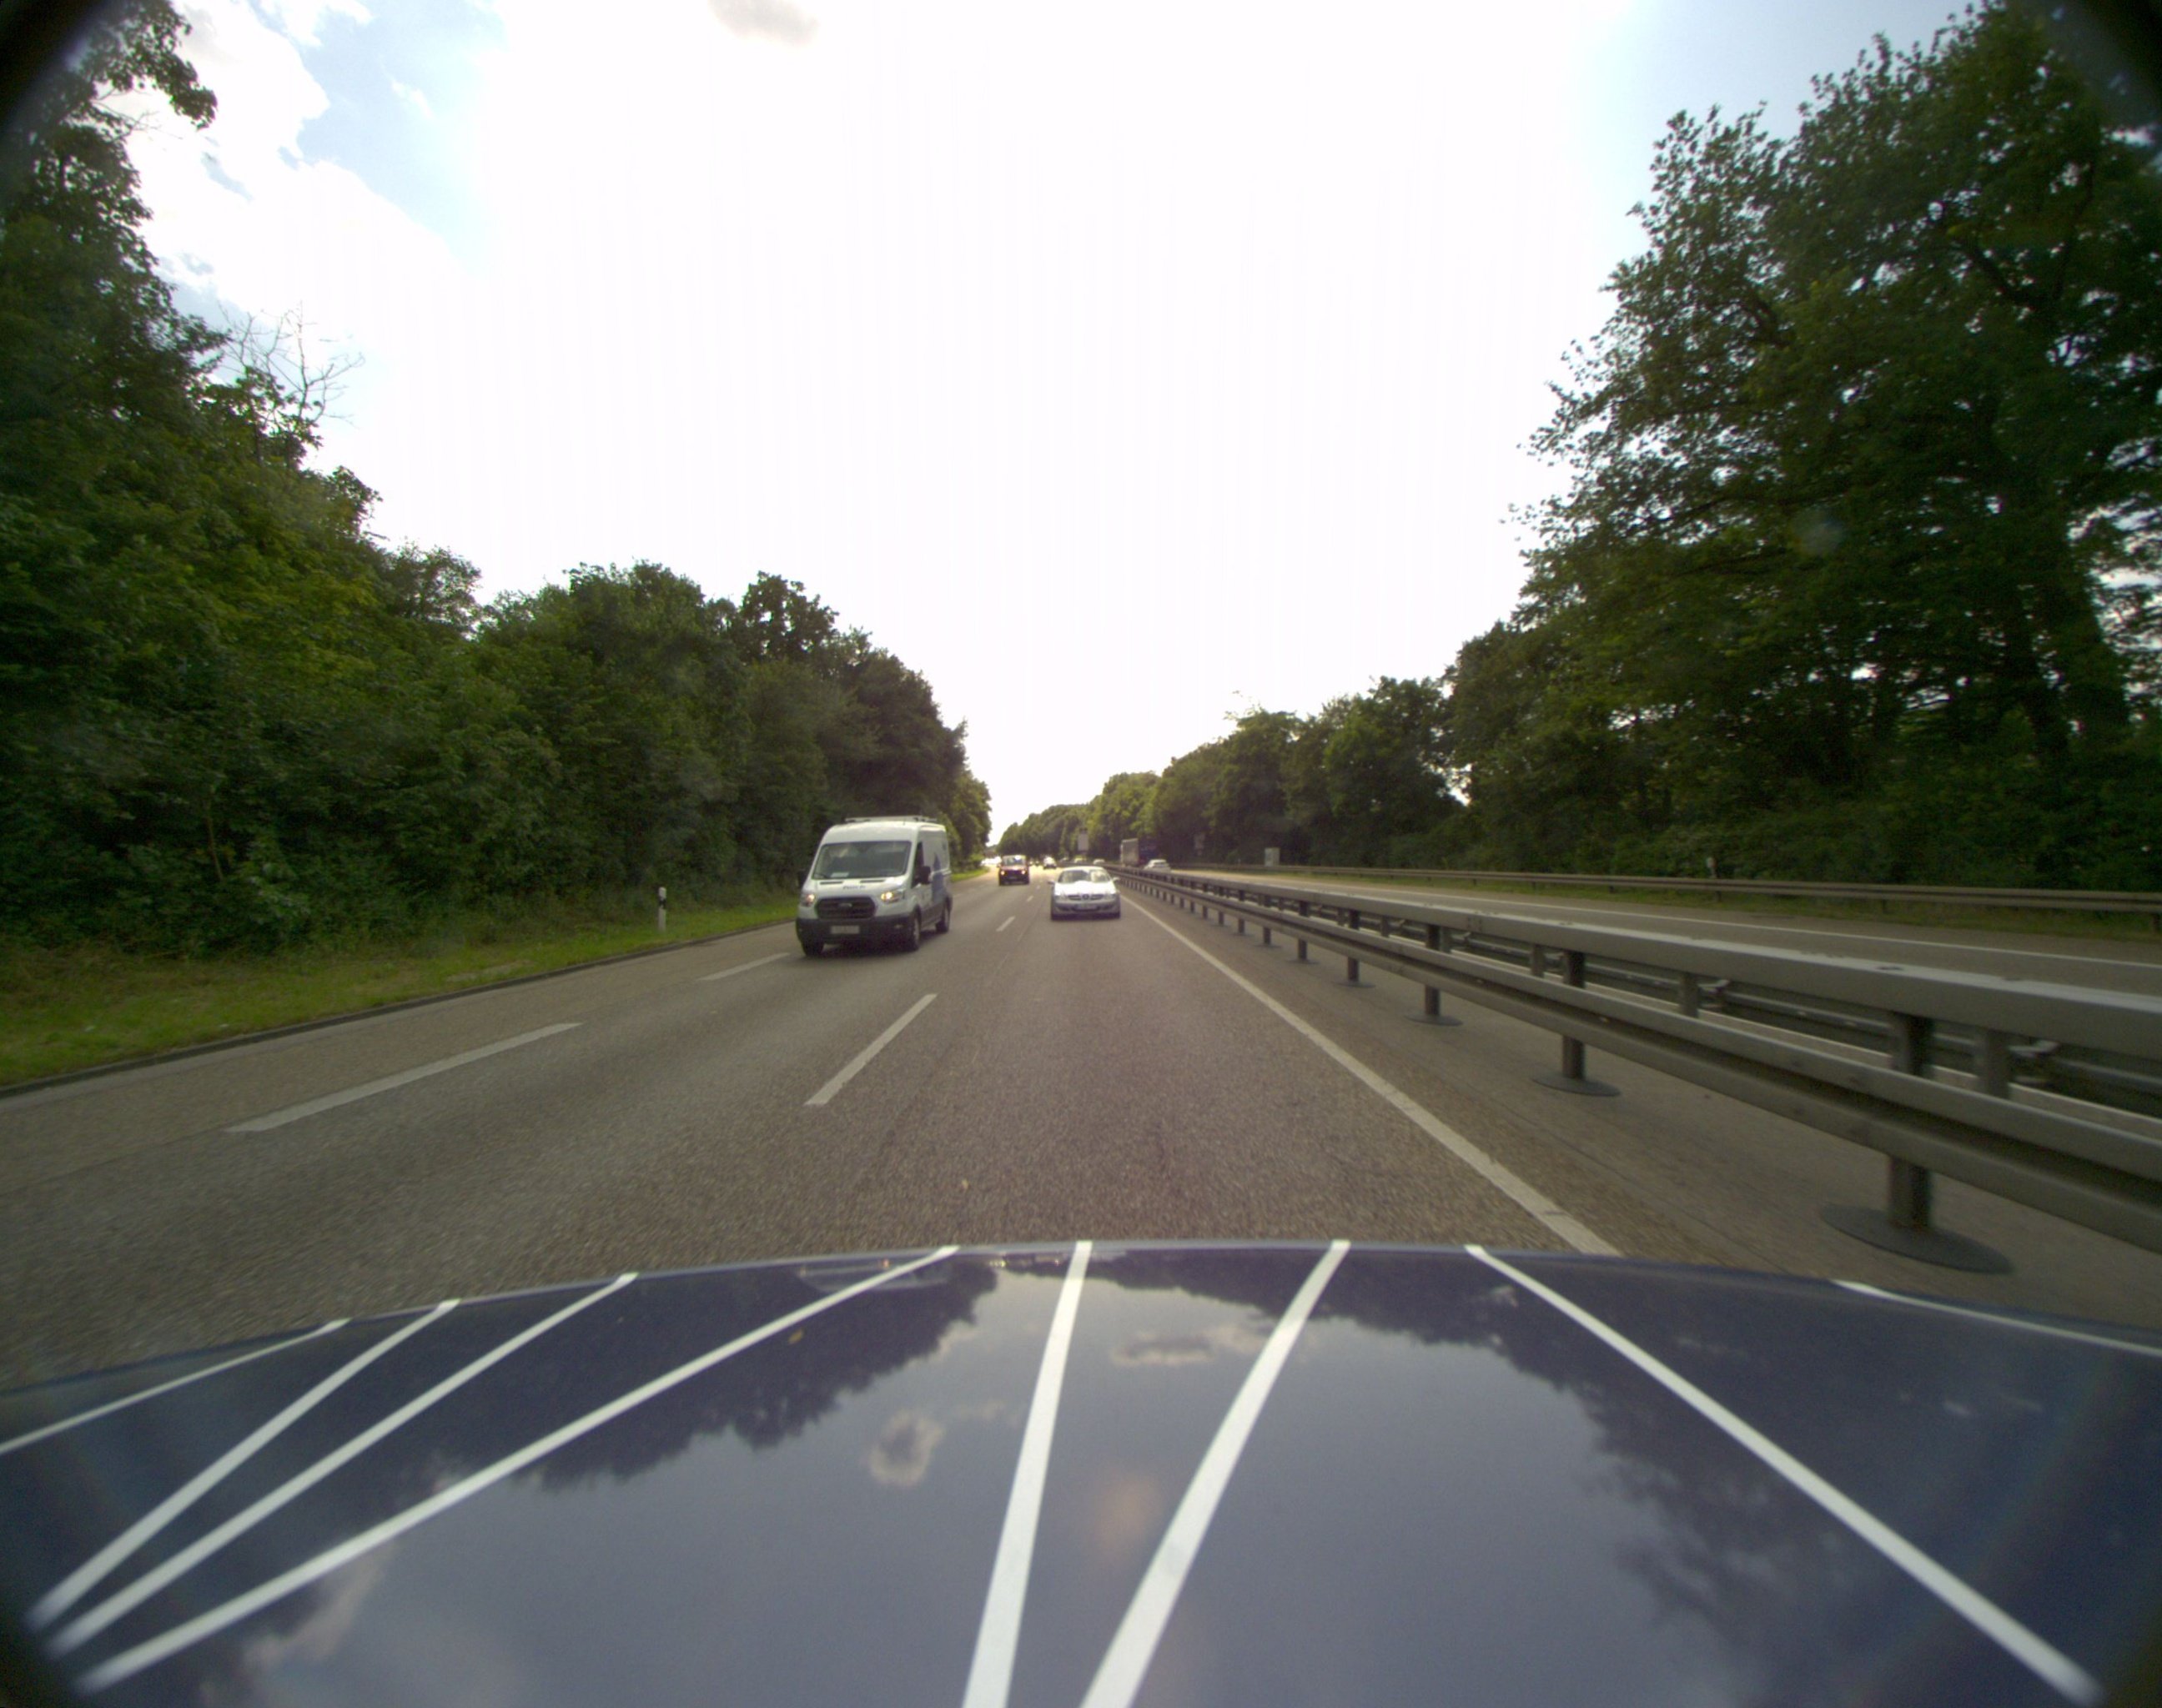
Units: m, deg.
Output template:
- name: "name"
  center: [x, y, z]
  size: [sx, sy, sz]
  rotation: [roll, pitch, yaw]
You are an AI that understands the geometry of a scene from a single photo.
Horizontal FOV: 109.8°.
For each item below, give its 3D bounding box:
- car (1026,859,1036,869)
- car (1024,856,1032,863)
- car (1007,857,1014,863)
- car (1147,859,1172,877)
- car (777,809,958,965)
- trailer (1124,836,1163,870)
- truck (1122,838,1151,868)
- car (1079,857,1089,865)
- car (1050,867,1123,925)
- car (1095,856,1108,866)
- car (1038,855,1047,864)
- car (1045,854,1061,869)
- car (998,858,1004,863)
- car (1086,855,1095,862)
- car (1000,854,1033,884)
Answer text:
- name: "car"
  center: [-10.256, 2.021, 156.340]
  size: [1.999, 2.002, 3.998]
  rotation: [-1, 0, -5]
- name: "car"
  center: [-12.522, 1.306, 180.133]
  size: [1.700, 1.579, 3.998]
  rotation: [-1, 0, -4]
- name: "car"
  center: [-17.110, 1.381, 184.287]
  size: [1.786, 1.512, 3.998]
  rotation: [-1, 0, -5]
- name: "car"
  center: [7.151, 1.258, 69.500]
  size: [1.682, 1.422, 4.550]
  rotation: [-2, 0, -1]
- name: "car"
  center: [-3.943, 0.546, 15.173]
  size: [2.104, 2.493, 5.278]
  rotation: [-2, 0, -1]
- name: "trailer"
  center: [8.098, -0.191, 100.540]
  size: [3.414, 4.056, 12.975]
  rotation: [-2, 1, -3]
- name: "truck"
  center: [7.797, -0.179, 107.484]
  size: [3.384, 4.073, 6.128]
  rotation: [-2, 1, -3]
- name: "car"
  center: [0.531, 1.361, 144.667]
  size: [1.860, 1.506, 3.992]
  rotation: [-1, 0, -2]
- name: "car"
  center: [0.126, 1.073, 21.161]
  size: [1.751, 1.295, 5.223]
  rotation: [-1, 0, 0]
- name: "car"
  center: [3.068, 1.035, 112.408]
  size: [1.667, 1.436, 4.008]
  rotation: [-1, 0, -3]
- name: "car"
  center: [-6.978, 0.949, 137.818]
  size: [1.473, 1.560, 3.293]
  rotation: [-1, 0, -3]
- name: "car"
  center: [-3.891, 0.993, 106.232]
  size: [1.999, 2.002, 3.998]
  rotation: [-1, 0, -5]
- name: "car"
  center: [-24.886, 2.011, 237.037]
  size: [1.786, 1.512, 3.998]
  rotation: [-1, 0, -6]
- name: "car"
  center: [2.100, 0.959, 169.634]
  size: [1.860, 1.506, 3.992]
  rotation: [-1, 0, -2]
- name: "car"
  center: [-4.164, 0.919, 49.612]
  size: [1.909, 1.795, 4.394]
  rotation: [-2, 0, -2]
